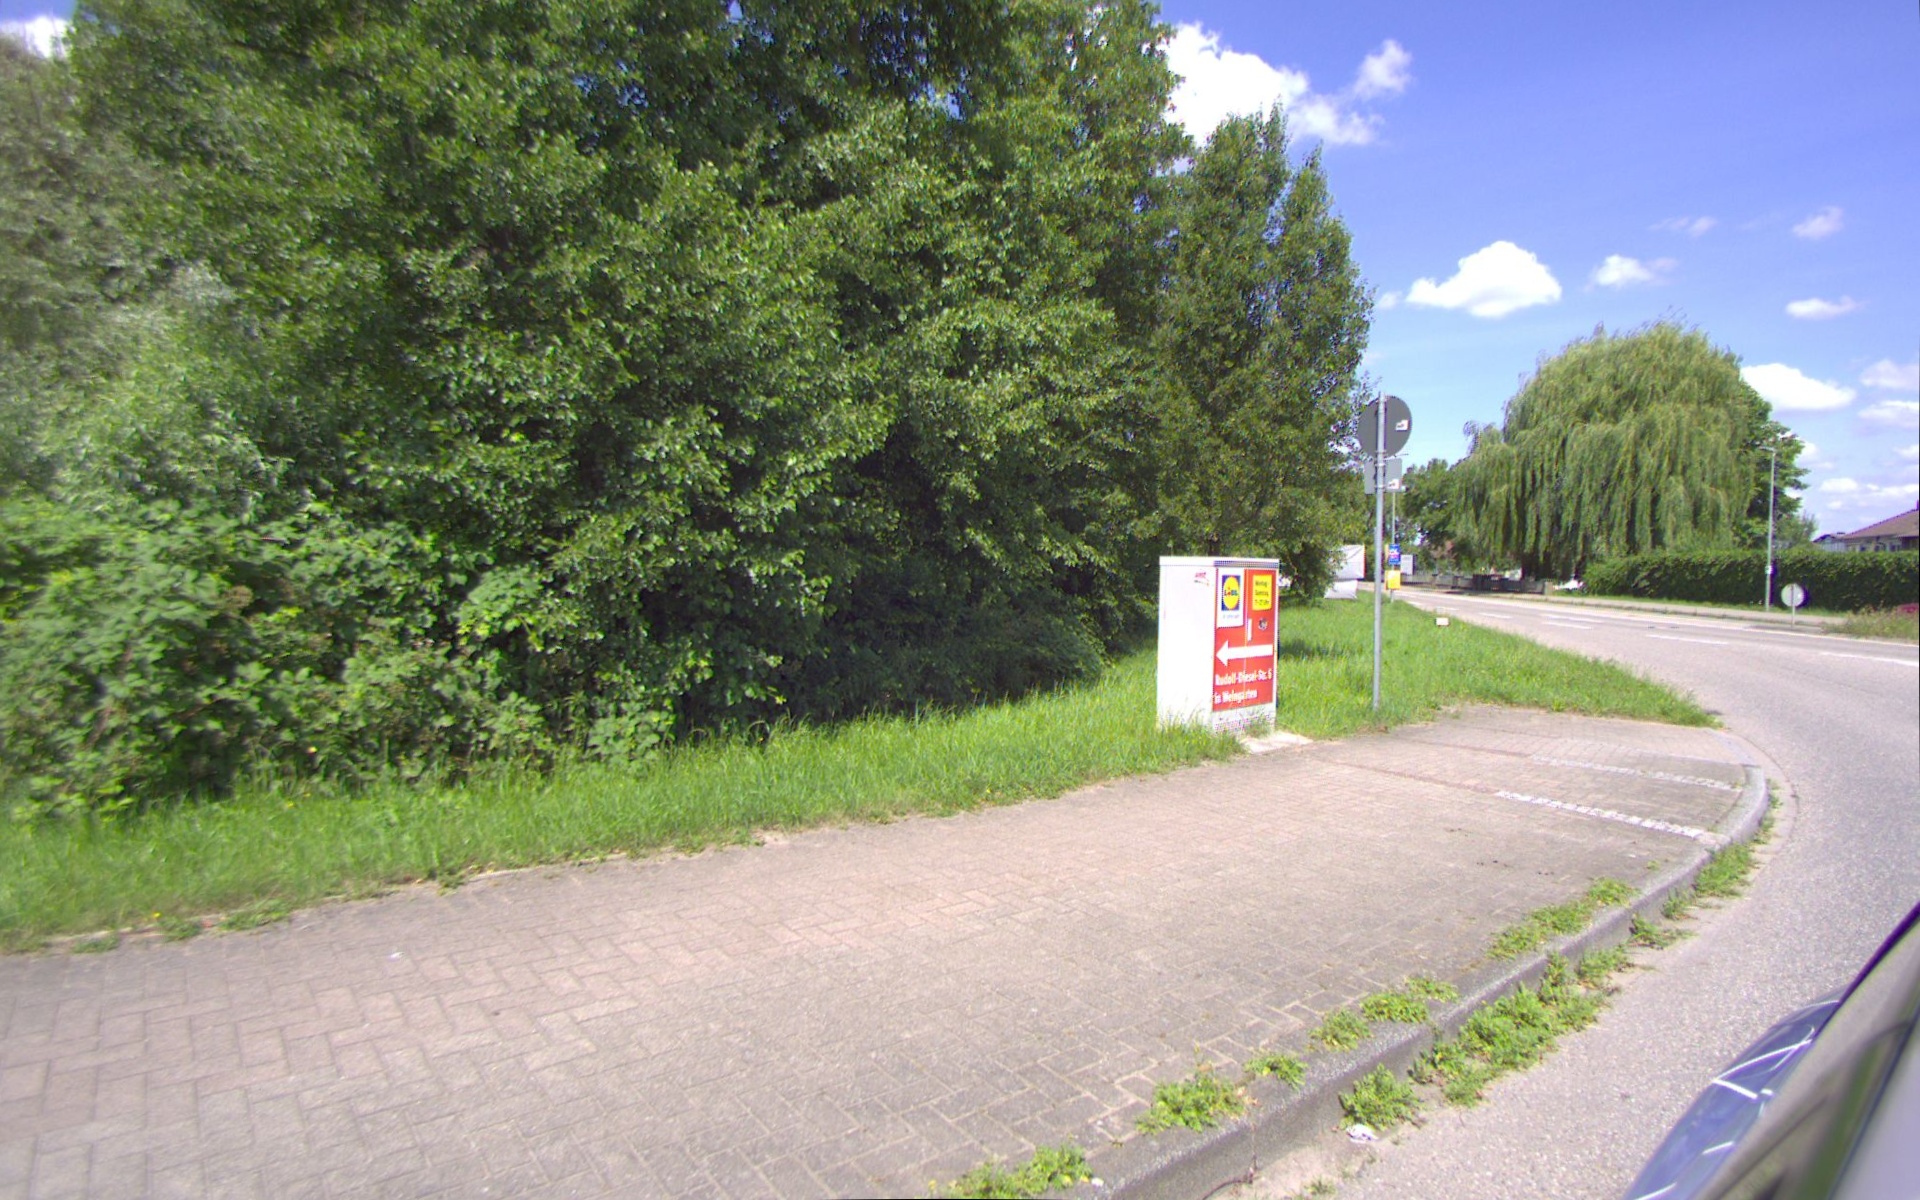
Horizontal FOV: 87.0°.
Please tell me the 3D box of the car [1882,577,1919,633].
[{"bbox_3d":[26.595,0.198,25.946,1.850,1.482,4.387,2,2,0],"label":"car"}]
